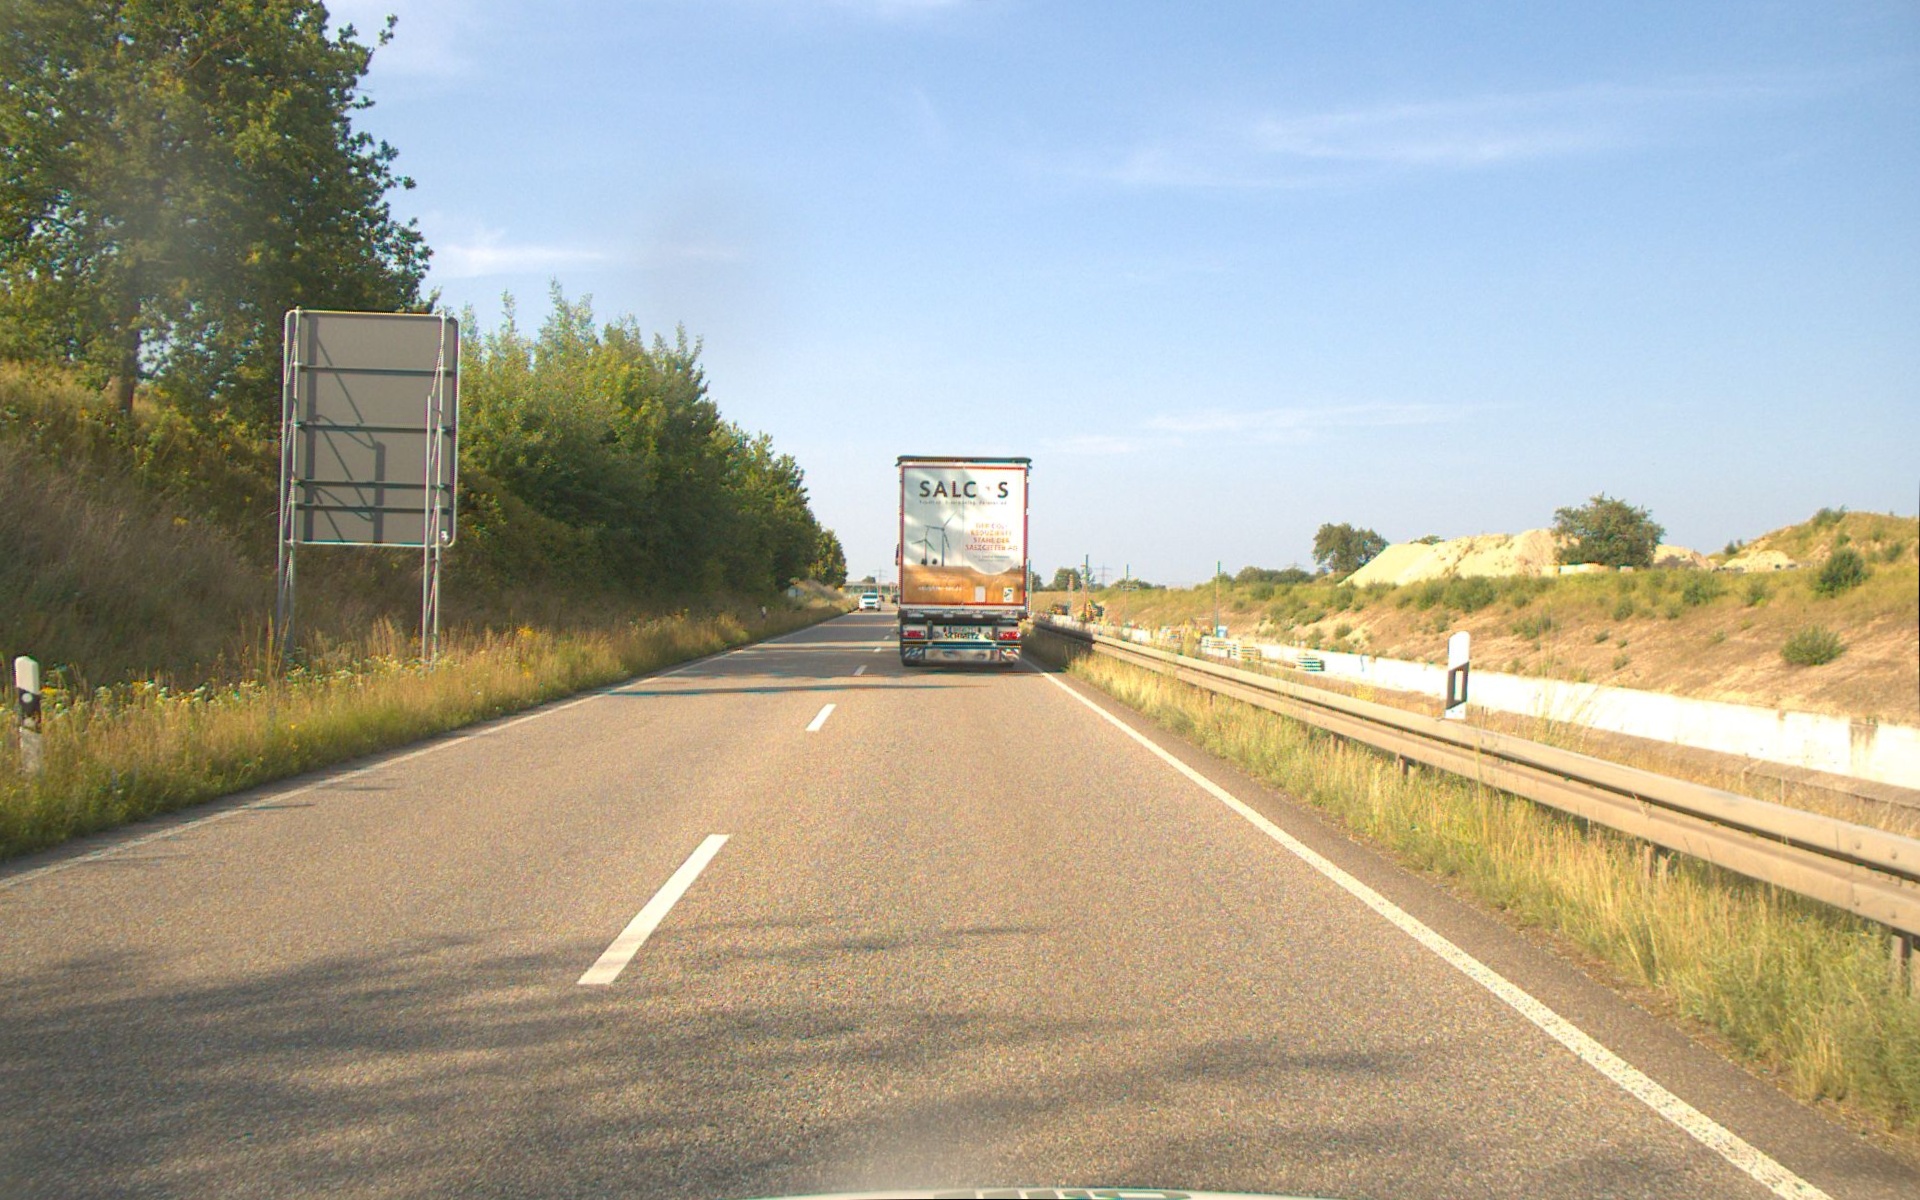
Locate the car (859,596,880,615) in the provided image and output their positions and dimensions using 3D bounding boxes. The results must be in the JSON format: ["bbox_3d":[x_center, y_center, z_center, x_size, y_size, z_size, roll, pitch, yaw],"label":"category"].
[{"bbox_3d":[-7.672,0.470,140.661,1.710,1.591,4.363,1,0,-2],"label":"car"}]

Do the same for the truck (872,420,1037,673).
[{"bbox_3d":[-0.247,-1.014,35.646,3.089,4.770,8.438,1,0,-2],"label":"truck"}]

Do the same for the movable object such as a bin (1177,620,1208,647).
[{"bbox_3d":[24.539,3.554,174.577,2.845,2.708,2.019,1,0,23],"label":"movable object such as a bin"}]
